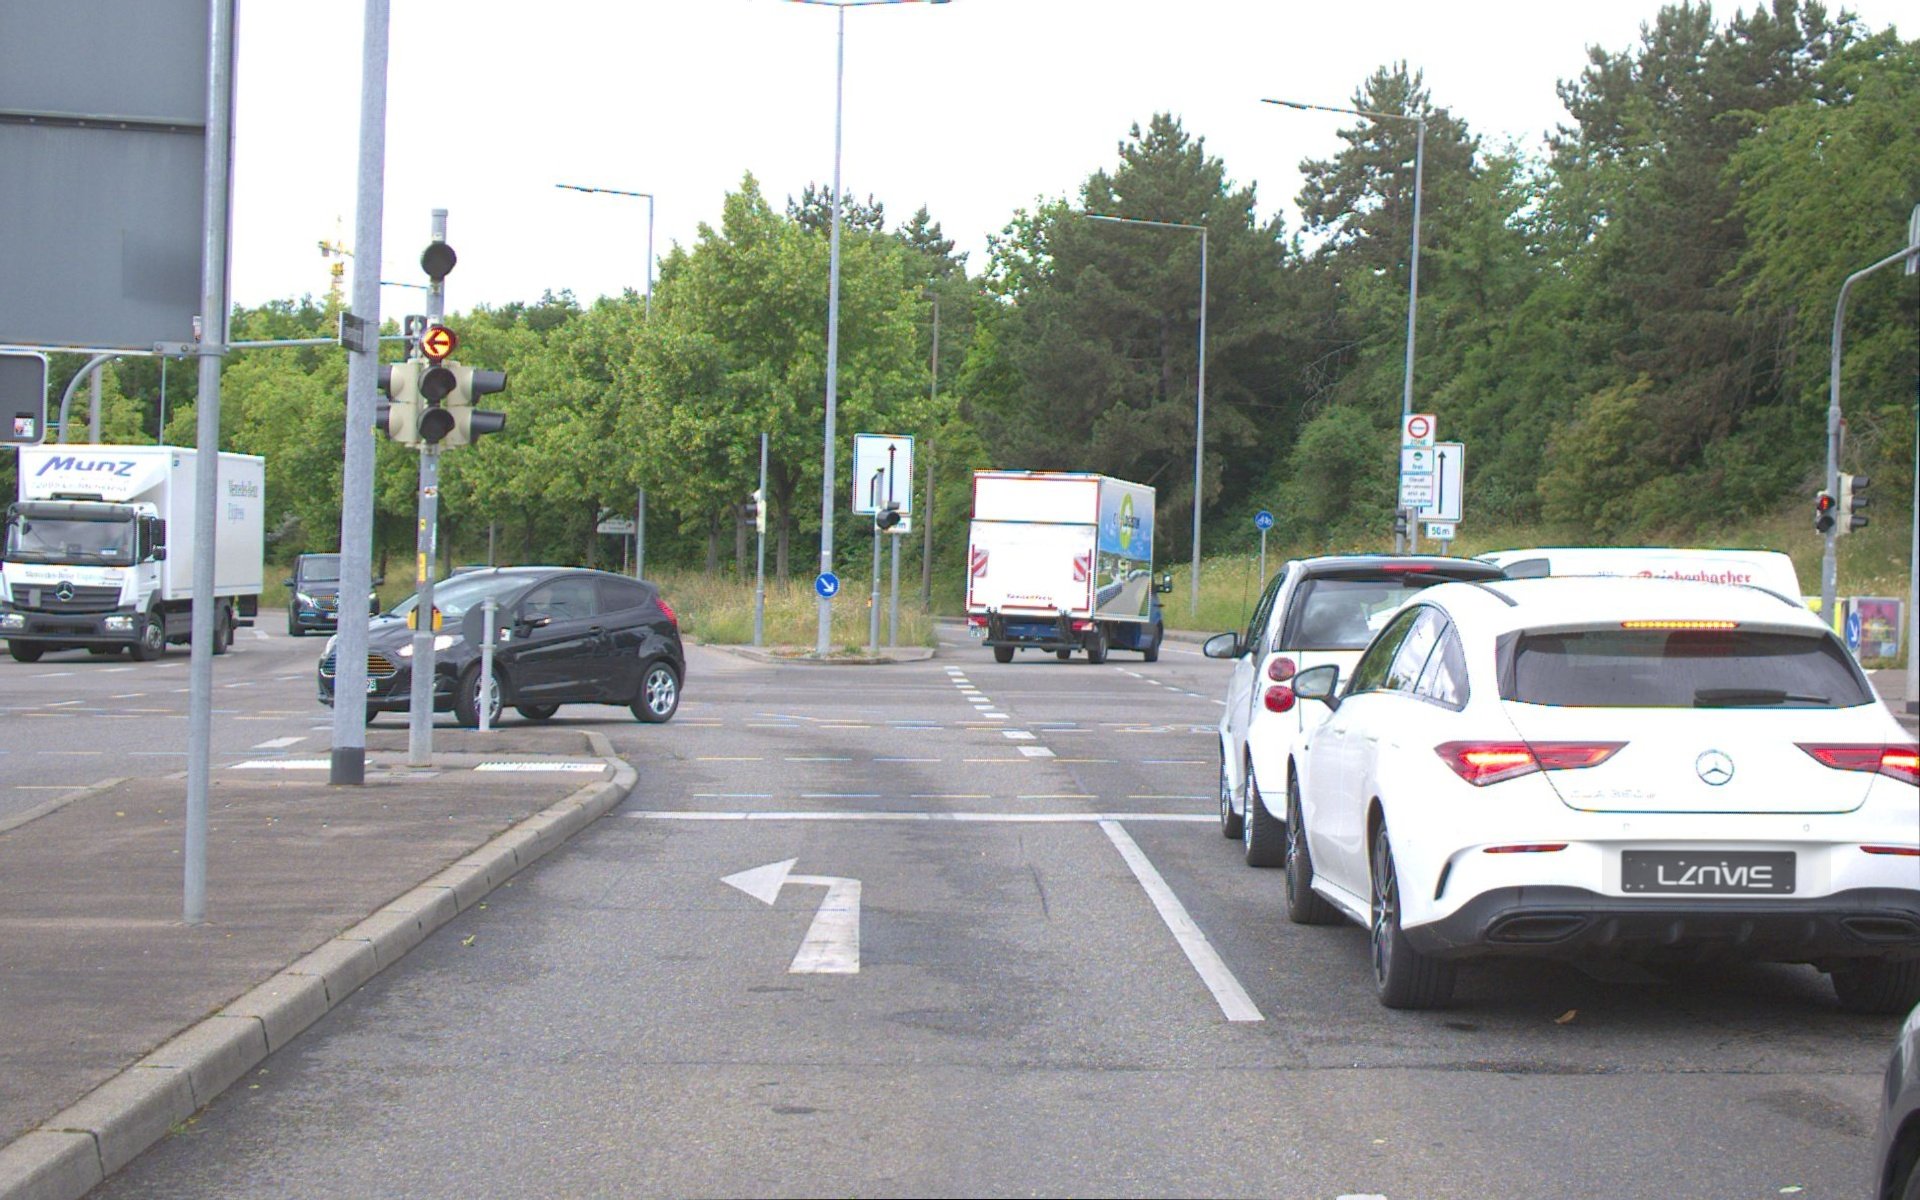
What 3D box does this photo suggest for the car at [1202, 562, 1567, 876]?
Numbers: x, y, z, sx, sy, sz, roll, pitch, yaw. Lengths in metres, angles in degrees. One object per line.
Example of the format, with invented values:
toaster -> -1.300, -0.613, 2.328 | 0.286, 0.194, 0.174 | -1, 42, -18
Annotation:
car -> 2.129, 0.560, 17.829 | 1.535, 1.499, 2.670 | 0, 0, 0

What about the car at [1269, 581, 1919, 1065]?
car -> 2.208, 0.664, 12.574 | 1.721, 1.417, 4.357 | 0, 1, 0

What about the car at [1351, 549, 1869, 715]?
car -> 7.324, 0.378, 38.990 | 5.417, 1.809, 2.000 | 0, -1, -7

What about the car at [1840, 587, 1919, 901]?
car -> 5.097, 0.662, 14.700 | 1.545, 1.399, 4.000 | 0, 1, -1

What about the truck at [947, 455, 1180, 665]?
truck -> 2.011, -0.732, 63.198 | 2.685, 3.586, 7.259 | 1, 1, 14

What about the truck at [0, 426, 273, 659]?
truck -> -14.196, -0.959, 59.443 | 2.660, 3.636, 9.503 | 1, 0, 0

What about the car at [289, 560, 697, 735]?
car -> -4.248, 0.389, 31.758 | 1.637, 1.475, 3.770 | 1, 1, 34

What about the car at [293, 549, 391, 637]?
car -> -13.921, -0.180, 77.606 | 1.915, 1.721, 4.002 | 0, 4, -7

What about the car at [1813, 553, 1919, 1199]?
car -> 2.315, 0.720, 3.791 | 1.799, 1.518, 4.187 | 0, 1, 1
